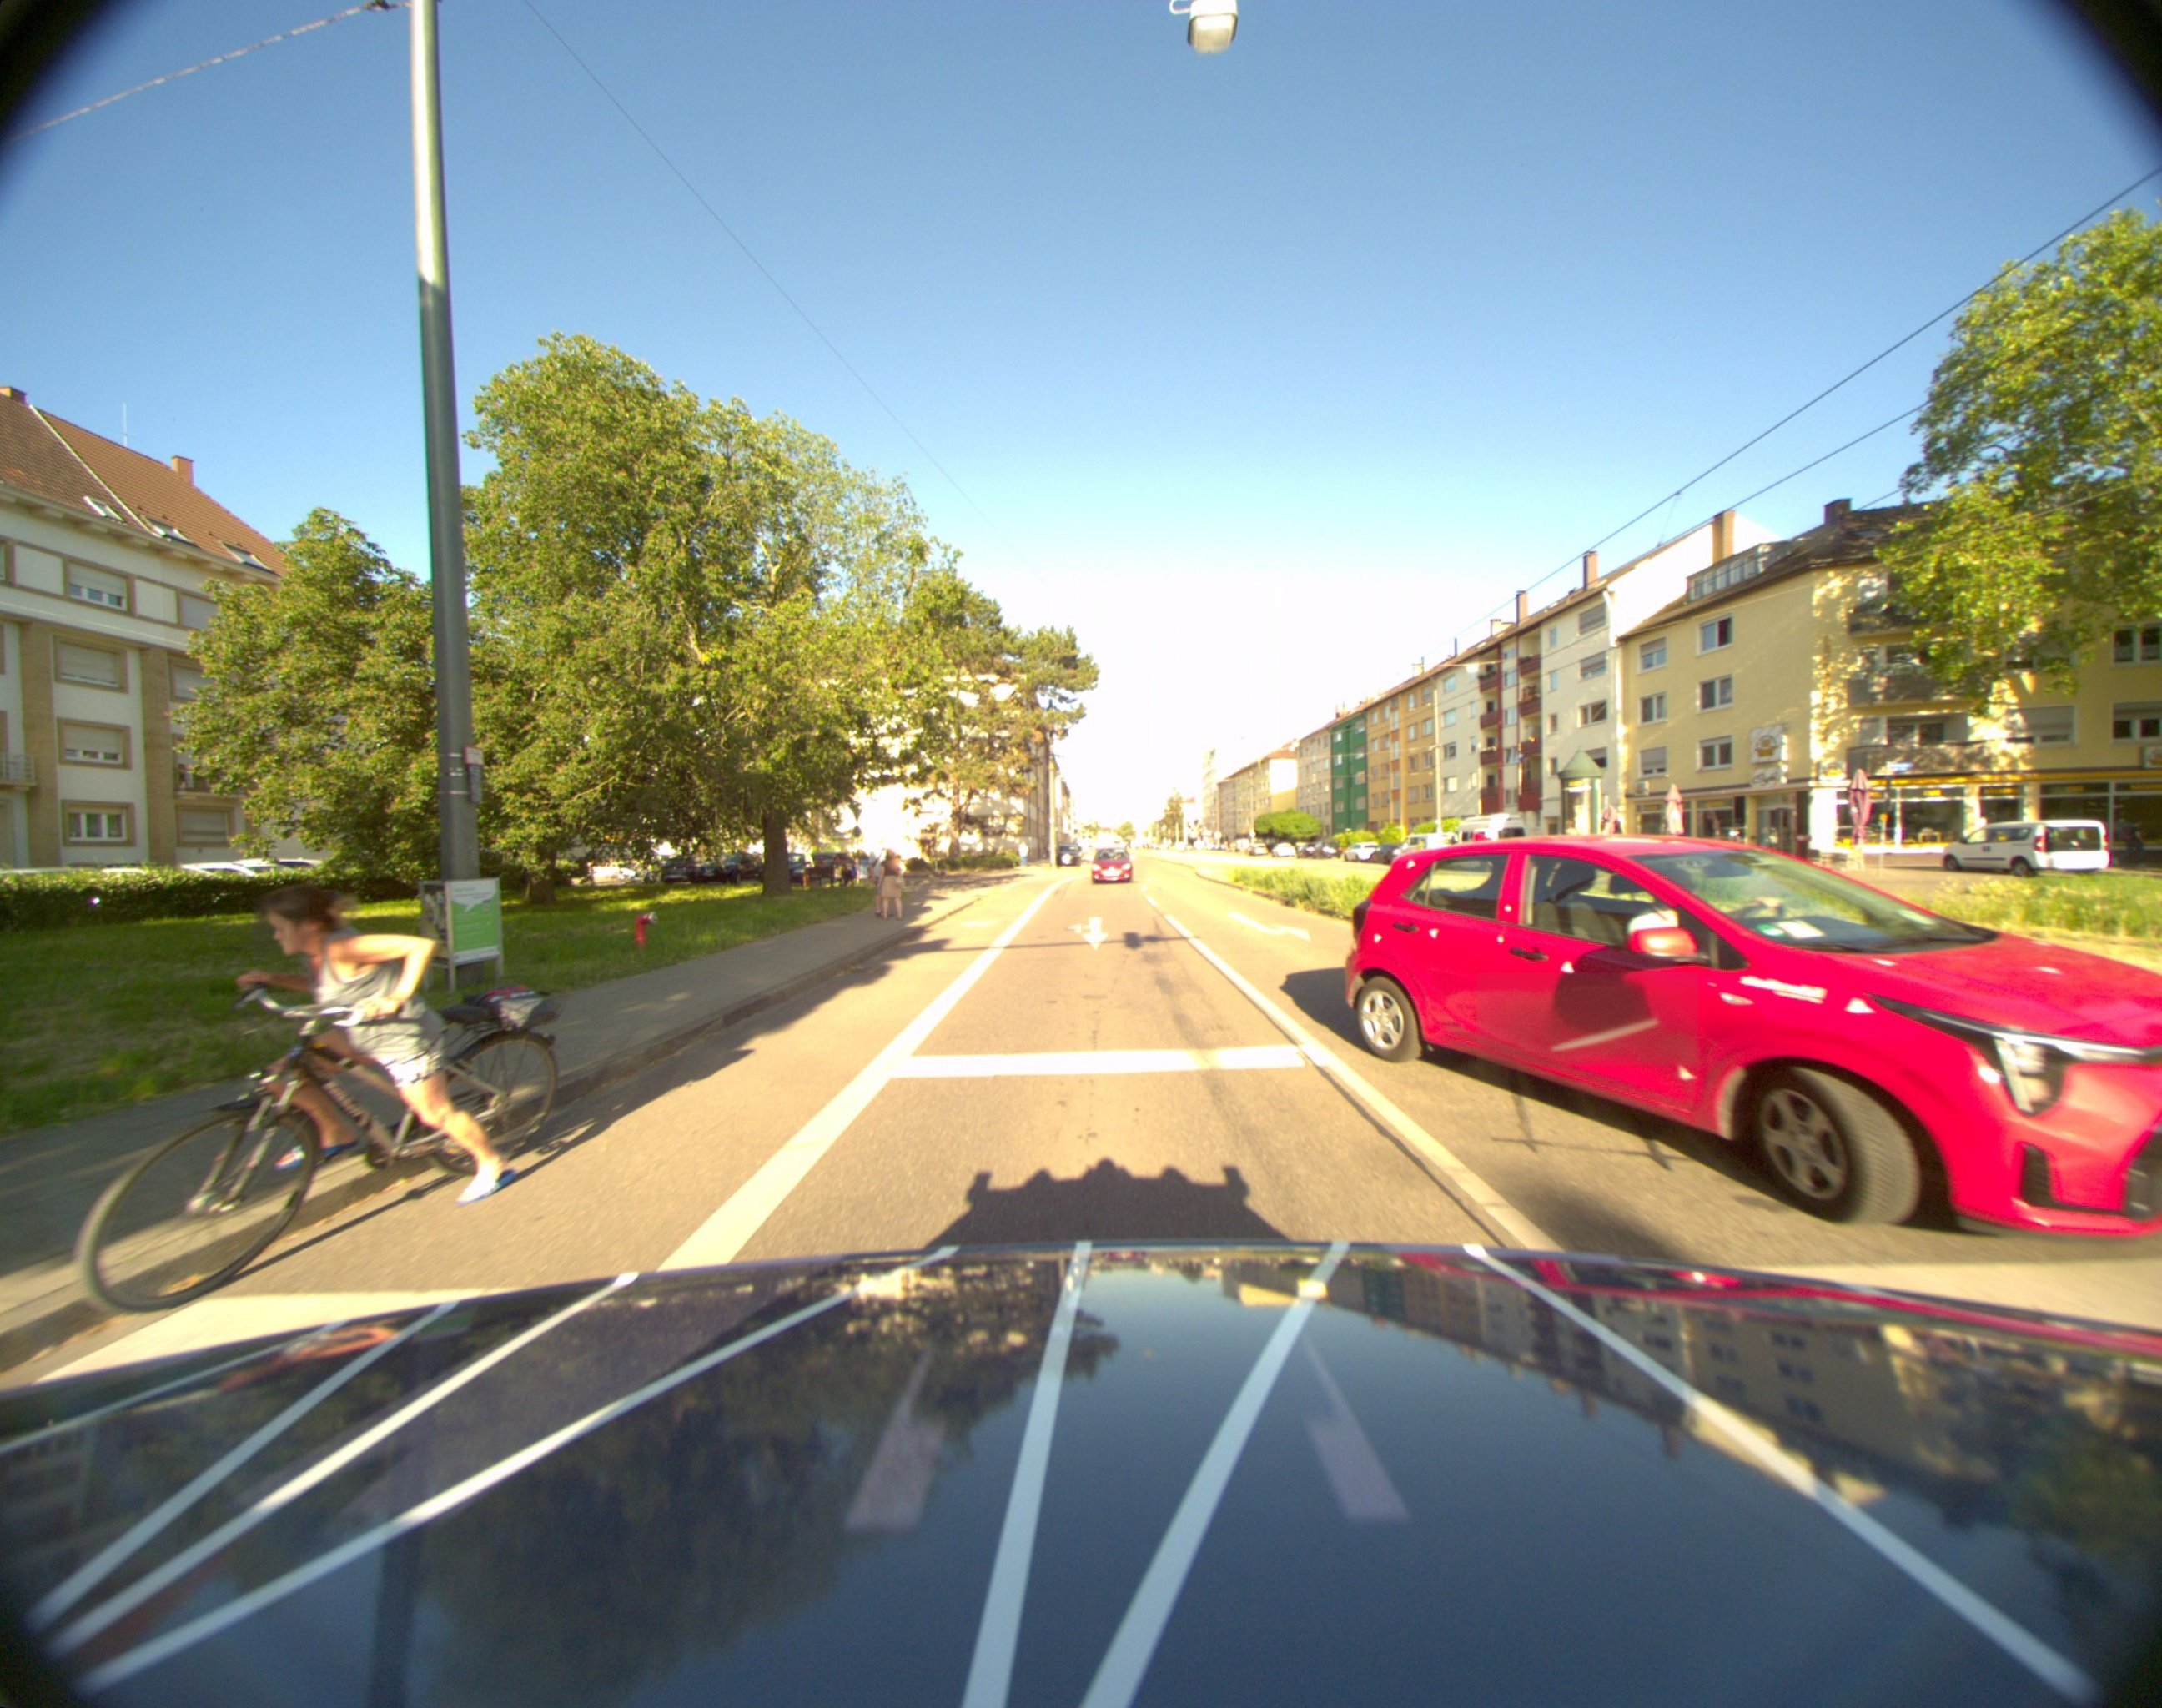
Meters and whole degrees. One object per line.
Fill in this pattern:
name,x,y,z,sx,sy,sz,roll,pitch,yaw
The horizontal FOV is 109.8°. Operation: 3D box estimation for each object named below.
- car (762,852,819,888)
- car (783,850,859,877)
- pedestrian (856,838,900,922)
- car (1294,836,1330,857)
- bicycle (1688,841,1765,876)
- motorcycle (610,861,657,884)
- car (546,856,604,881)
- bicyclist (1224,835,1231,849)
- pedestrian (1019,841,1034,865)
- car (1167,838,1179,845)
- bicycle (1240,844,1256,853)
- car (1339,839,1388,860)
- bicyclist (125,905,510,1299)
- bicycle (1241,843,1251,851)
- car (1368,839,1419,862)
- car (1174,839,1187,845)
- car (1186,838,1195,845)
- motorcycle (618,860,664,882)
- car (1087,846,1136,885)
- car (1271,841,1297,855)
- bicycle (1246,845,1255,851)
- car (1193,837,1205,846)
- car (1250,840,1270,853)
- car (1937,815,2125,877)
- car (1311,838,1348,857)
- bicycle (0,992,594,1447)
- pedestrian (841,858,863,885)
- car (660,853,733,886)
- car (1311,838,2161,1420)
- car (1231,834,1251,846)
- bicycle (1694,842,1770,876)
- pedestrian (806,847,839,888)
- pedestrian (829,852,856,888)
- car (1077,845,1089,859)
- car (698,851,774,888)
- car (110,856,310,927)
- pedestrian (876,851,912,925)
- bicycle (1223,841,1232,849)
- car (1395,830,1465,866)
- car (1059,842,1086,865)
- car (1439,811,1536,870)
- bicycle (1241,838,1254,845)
car,-12.887,0.661,33.900,1.641,1.486,3.804,-1,1,-10
car,-15.811,0.550,46.217,4.294,1.494,1.771,0,5,25
pedestrian,-4.414,0.559,16.559,0.704,1.779,0.694,1,1,7
car,22.280,-0.769,73.489,1.998,1.827,4.609,-4,1,1
bicycle,23.778,0.160,28.023,0.520,1.245,2.085,-5,3,-33
motorcycle,-21.360,0.894,36.299,1.785,1.066,0.713,1,0,-15
car,-38.895,1.109,58.414,3.991,1.602,1.802,-3,1,24
bicyclist,20.895,-1.687,108.398,0.775,2.002,0.648,-4,1,1
pedestrian,-3.844,-0.060,53.737,0.882,1.712,0.725,-1,1,7
car,20.390,-2.758,169.086,1.788,1.519,4.413,0,1,-4
bicycle,23.705,-0.774,107.799,2.052,1.086,0.616,-4,1,7
car,21.845,-0.350,58.935,1.897,1.483,4.702,-3,1,-1
bicyclist,-3.014,0.916,3.100,0.639,1.315,0.803,-4,1,4
bicycle,22.383,-0.913,102.934,0.511,1.086,1.934,-4,1,-10
car,21.855,-0.252,53.326,1.699,1.506,4.325,-2,1,-2
car,21.031,-2.552,161.056,1.839,1.377,4.412,0,1,-5
car,24.350,-2.731,169.256,1.698,1.440,4.217,0,1,2
motorcycle,-21.460,0.839,37.095,1.785,1.066,0.713,1,0,-15
car,1.231,0.428,31.219,1.862,1.462,3.808,0,1,2
car,22.427,-0.718,84.140,1.733,1.446,4.375,-2,1,1
bicycle,22.948,-0.829,102.871,0.377,0.861,2.052,-4,1,-10
car,28.910,-3.038,186.105,1.999,1.887,4.669,-4,1,-1
car,22.831,-0.970,97.055,1.640,1.434,3.733,-3,1,-1
car,32.043,-0.303,25.841,1.996,1.816,4.003,-3,1,15
car,22.353,-0.609,68.520,1.998,1.598,4.150,-4,1,1
bicycle,-2.997,1.248,3.129,0.649,0.967,1.804,-4,1,4
pedestrian,-8.082,0.621,26.825,0.403,0.929,0.624,-3,-1,28
car,-18.499,0.712,36.784,1.640,1.432,4.239,0,1,-4
car,3.098,0.740,4.025,1.701,1.500,3.693,-4,1,-19
car,27.872,-2.356,132.690,1.999,1.938,5.499,-4,1,-2
bicycle,24.243,0.162,28.329,0.520,1.177,2.084,-5,3,-33
pedestrian,-9.241,0.480,27.196,0.685,1.365,0.756,-3,1,28
pedestrian,-8.476,0.552,27.020,0.403,1.219,0.762,-3,1,28
car,0.434,-0.459,148.486,2.156,2.681,6.291,1,1,1
car,-15.649,0.649,34.706,1.455,1.563,3.809,0,1,5
car,-26.306,1.097,23.035,3.996,1.783,1.768,-4,1,2
pedestrian,-3.919,0.704,15.966,0.530,1.520,0.627,0,2,7
bicycle,20.919,-1.277,108.363,0.770,1.140,2.474,1,1,1
car,21.777,-0.412,47.691,2.037,2.009,5.370,-4,1,2
car,-0.662,-0.094,60.802,1.883,1.707,4.933,2,1,2
car,21.660,-0.709,40.852,2.037,2.852,6.227,-2,1,2
bicycle,28.199,-2.155,128.695,2.103,1.099,0.472,-4,1,1
